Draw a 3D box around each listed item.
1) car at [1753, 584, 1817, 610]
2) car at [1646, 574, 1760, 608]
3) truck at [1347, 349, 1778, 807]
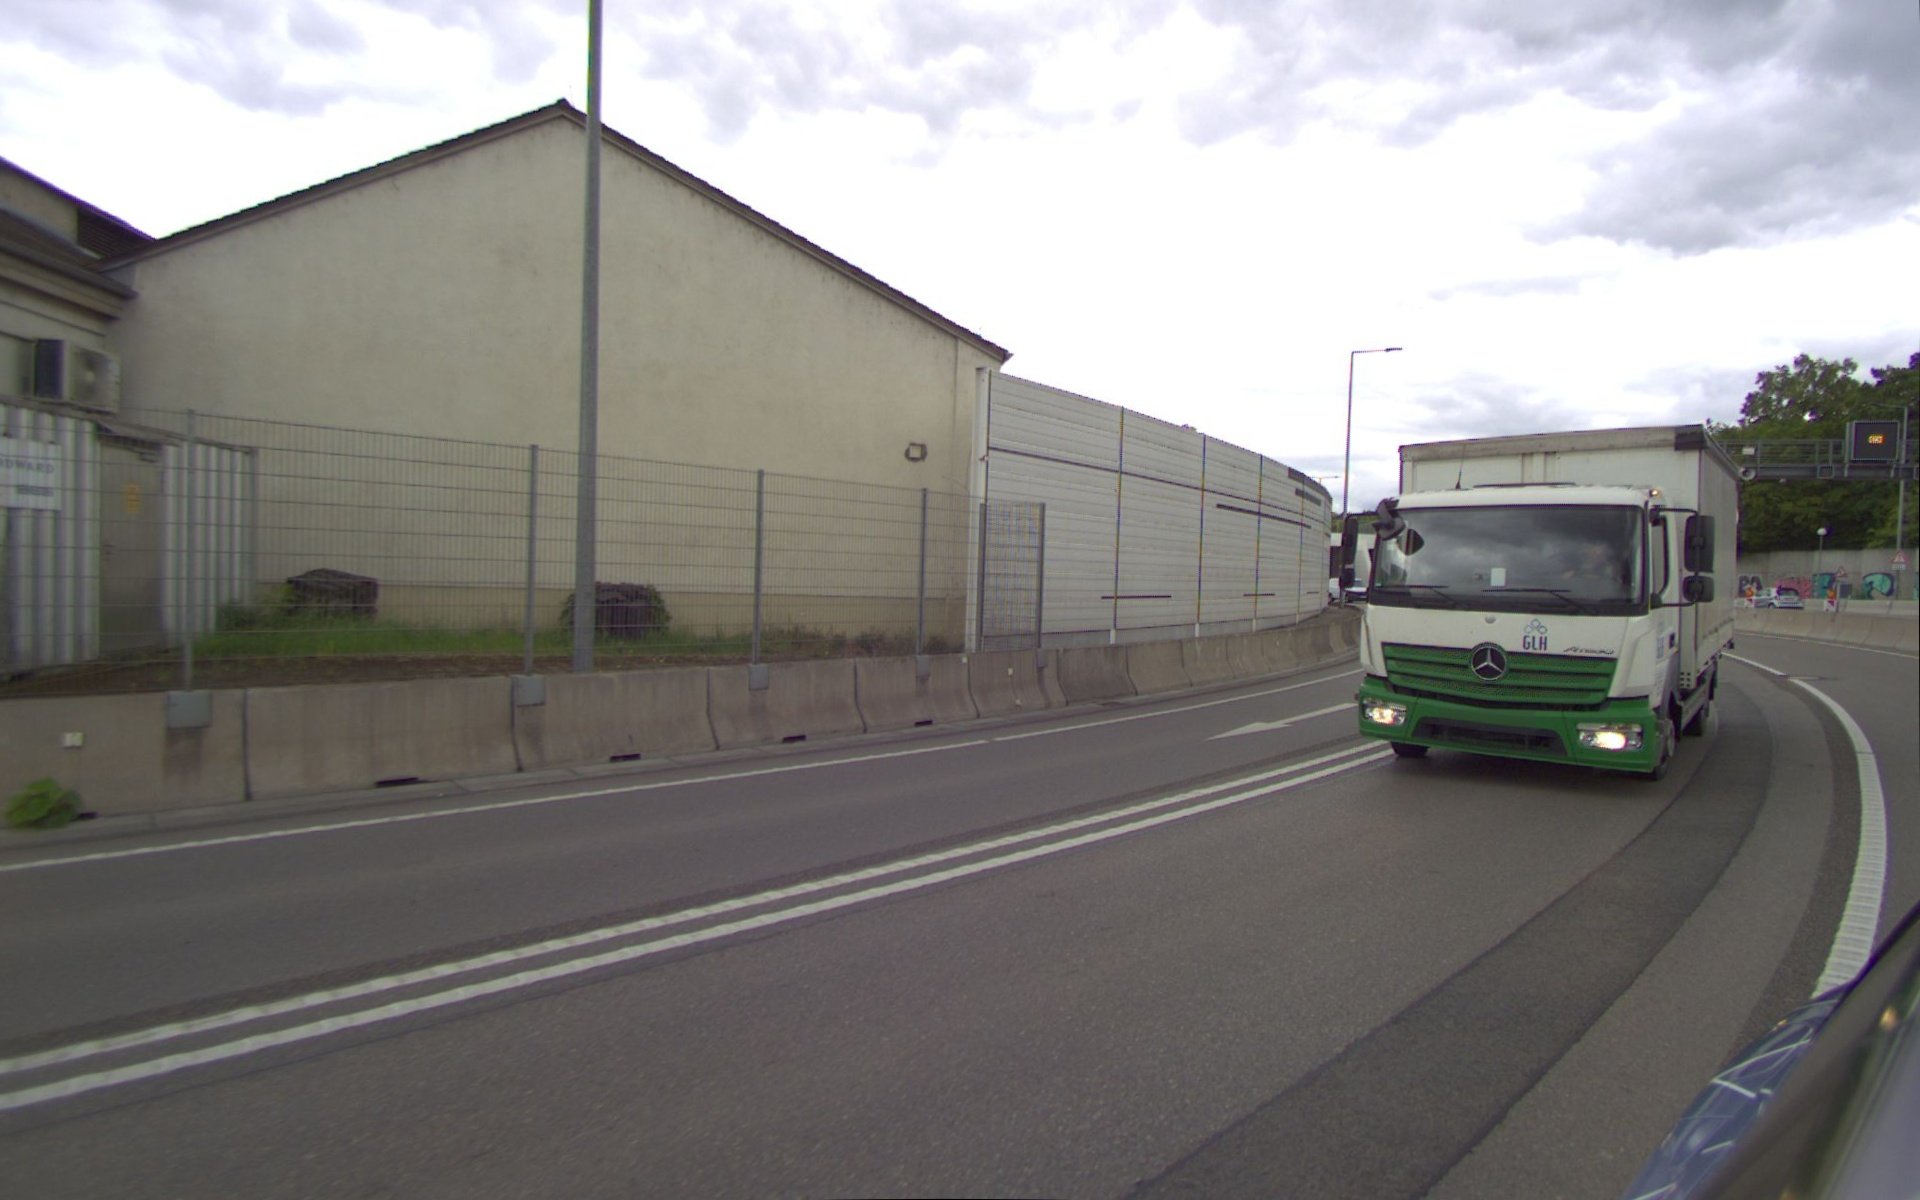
[{"bbox_3d":[49.201,-0.192,60.414,1.602,1.494,2.937,0,1,5],"label":"car"},{"bbox_3d":[35.671,-0.437,48.796,2.067,1.571,5.136,0,1,5],"label":"car"},{"bbox_3d":[6.853,-0.185,10.863,2.628,3.280,7.303,0,0,42],"label":"truck"}]
